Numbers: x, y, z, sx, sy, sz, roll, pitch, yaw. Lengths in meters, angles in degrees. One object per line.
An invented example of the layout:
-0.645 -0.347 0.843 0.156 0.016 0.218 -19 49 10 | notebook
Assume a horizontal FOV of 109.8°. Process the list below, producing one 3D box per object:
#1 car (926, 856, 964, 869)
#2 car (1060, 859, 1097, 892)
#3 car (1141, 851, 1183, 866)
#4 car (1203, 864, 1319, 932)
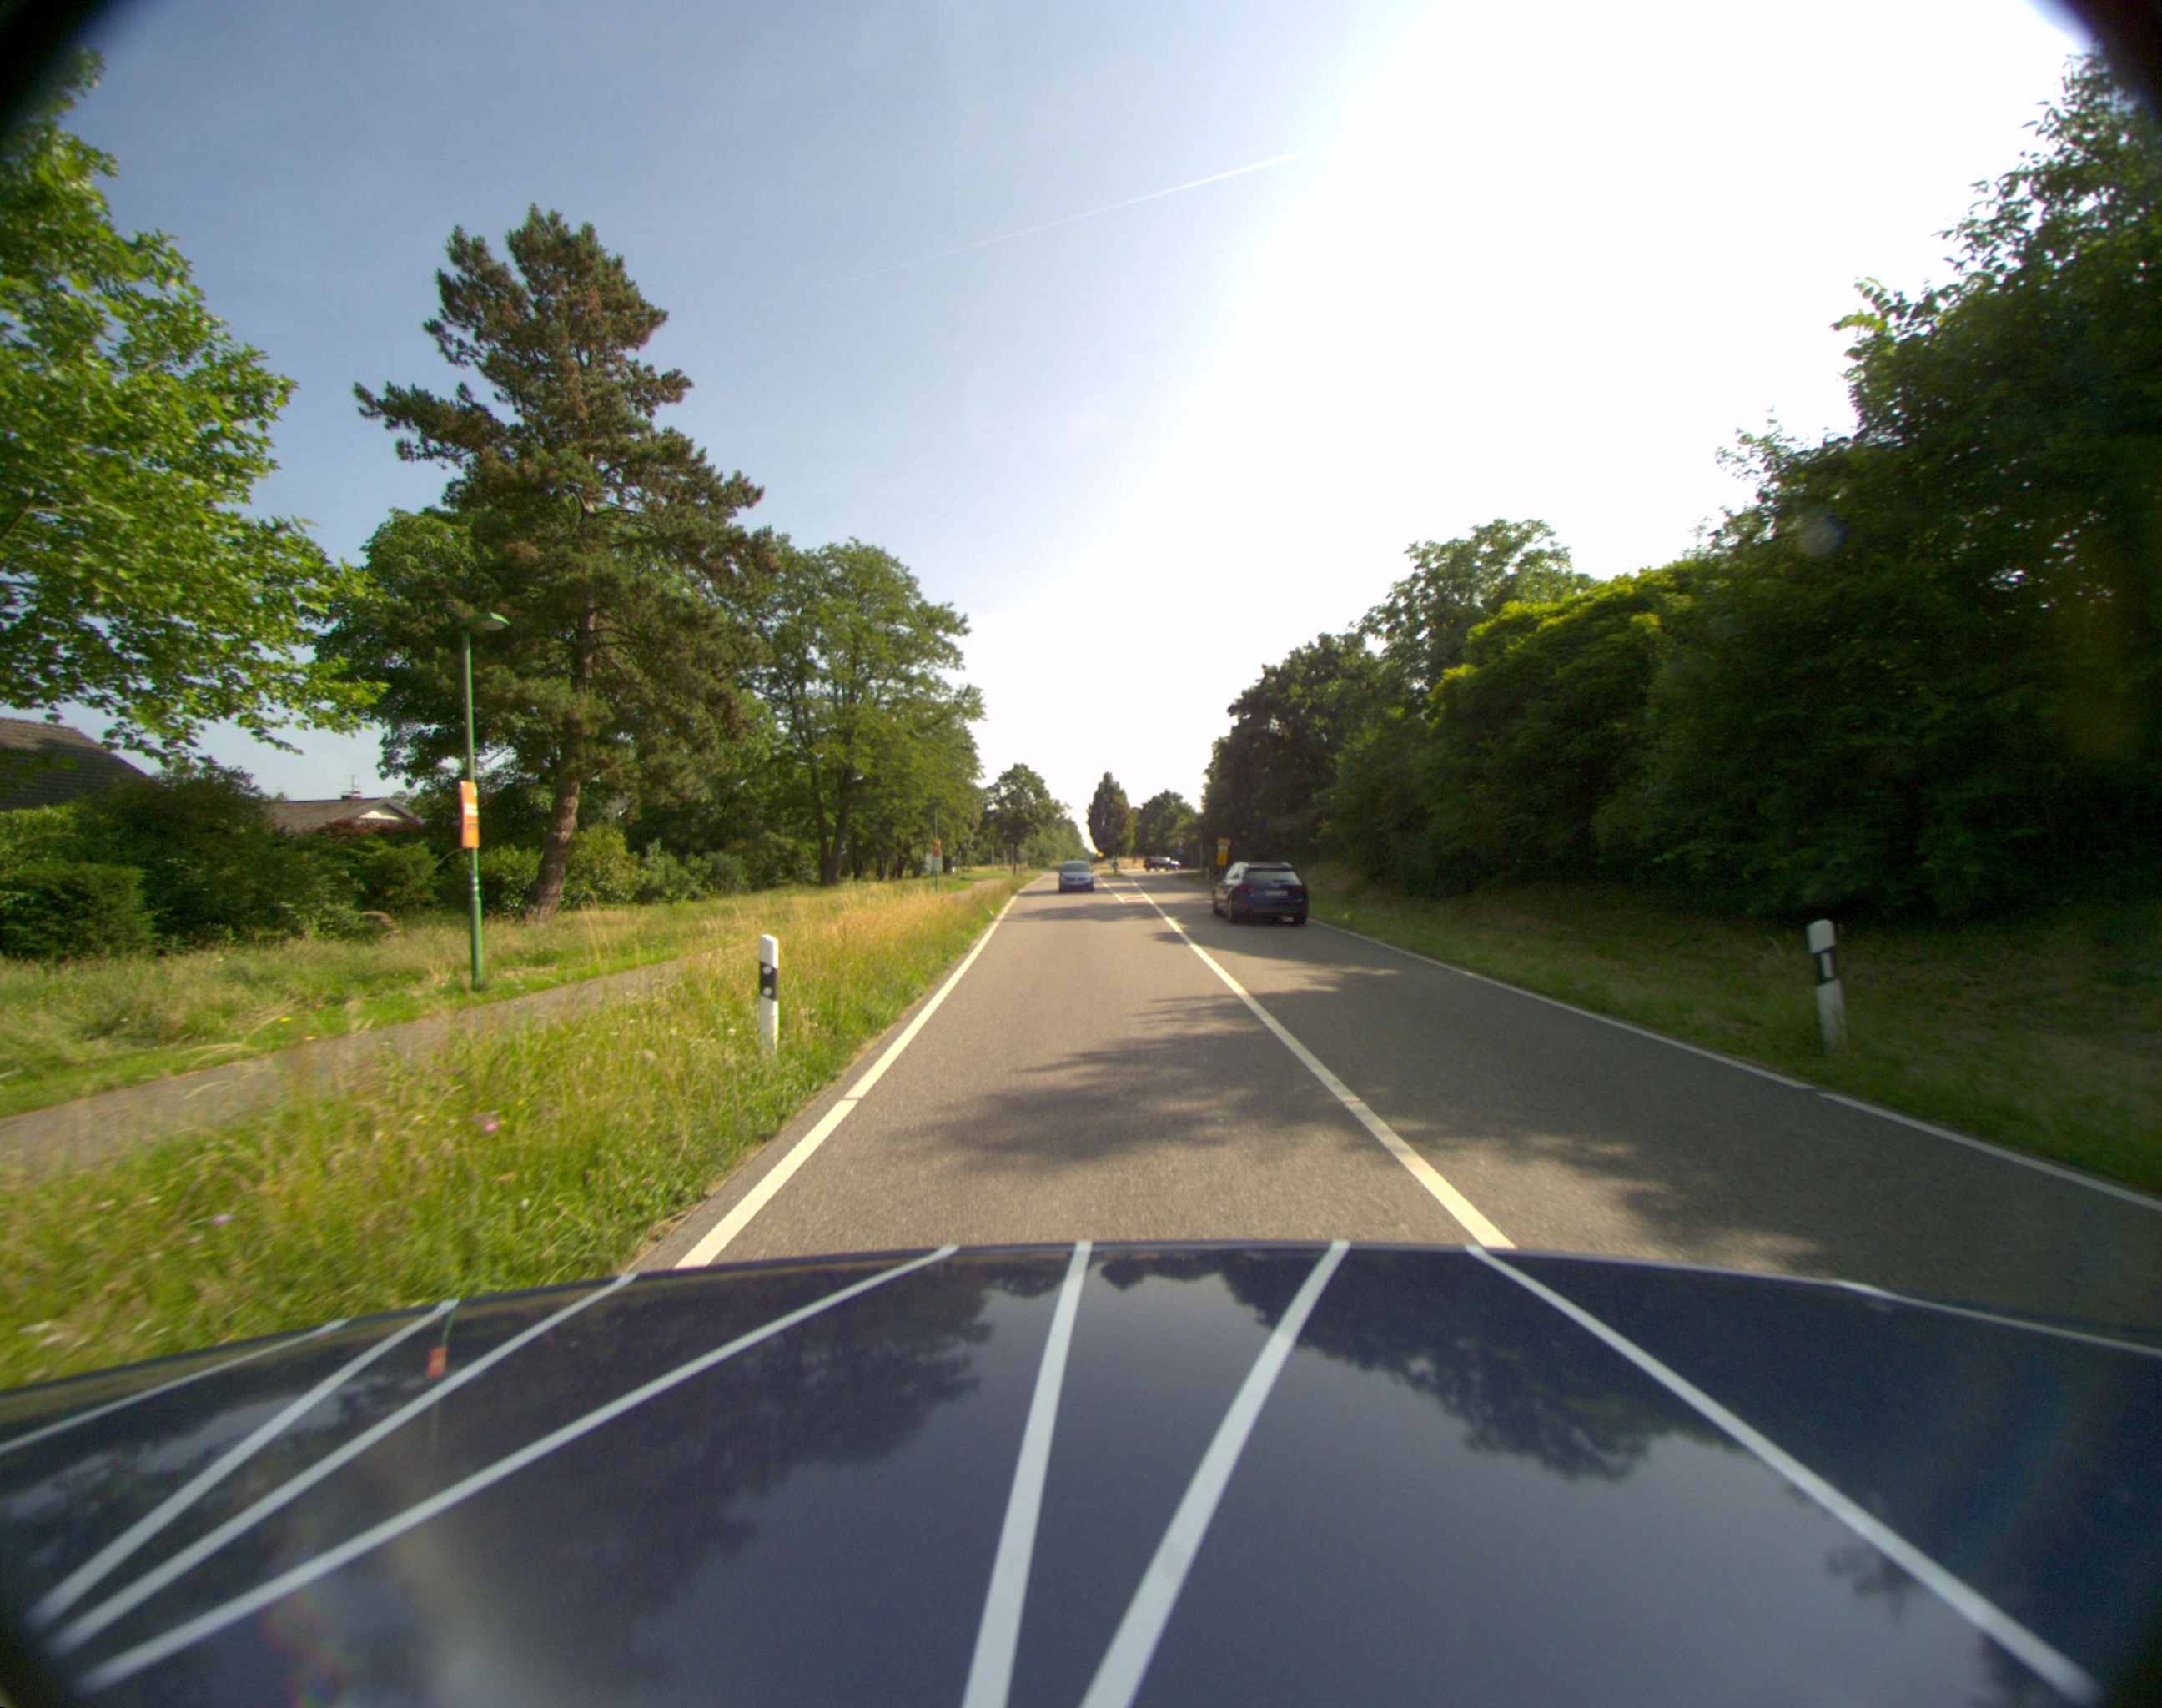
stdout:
-16.067 0.955 89.570 3.995 1.477 2.001 -1 0 5 | car
-0.088 1.055 39.059 1.808 1.592 4.269 -1 0 1 | car
9.489 0.525 88.741 4.628 1.592 1.949 -1 0 -29 | car
4.368 1.004 19.176 1.875 1.415 4.577 1 0 1 | car
